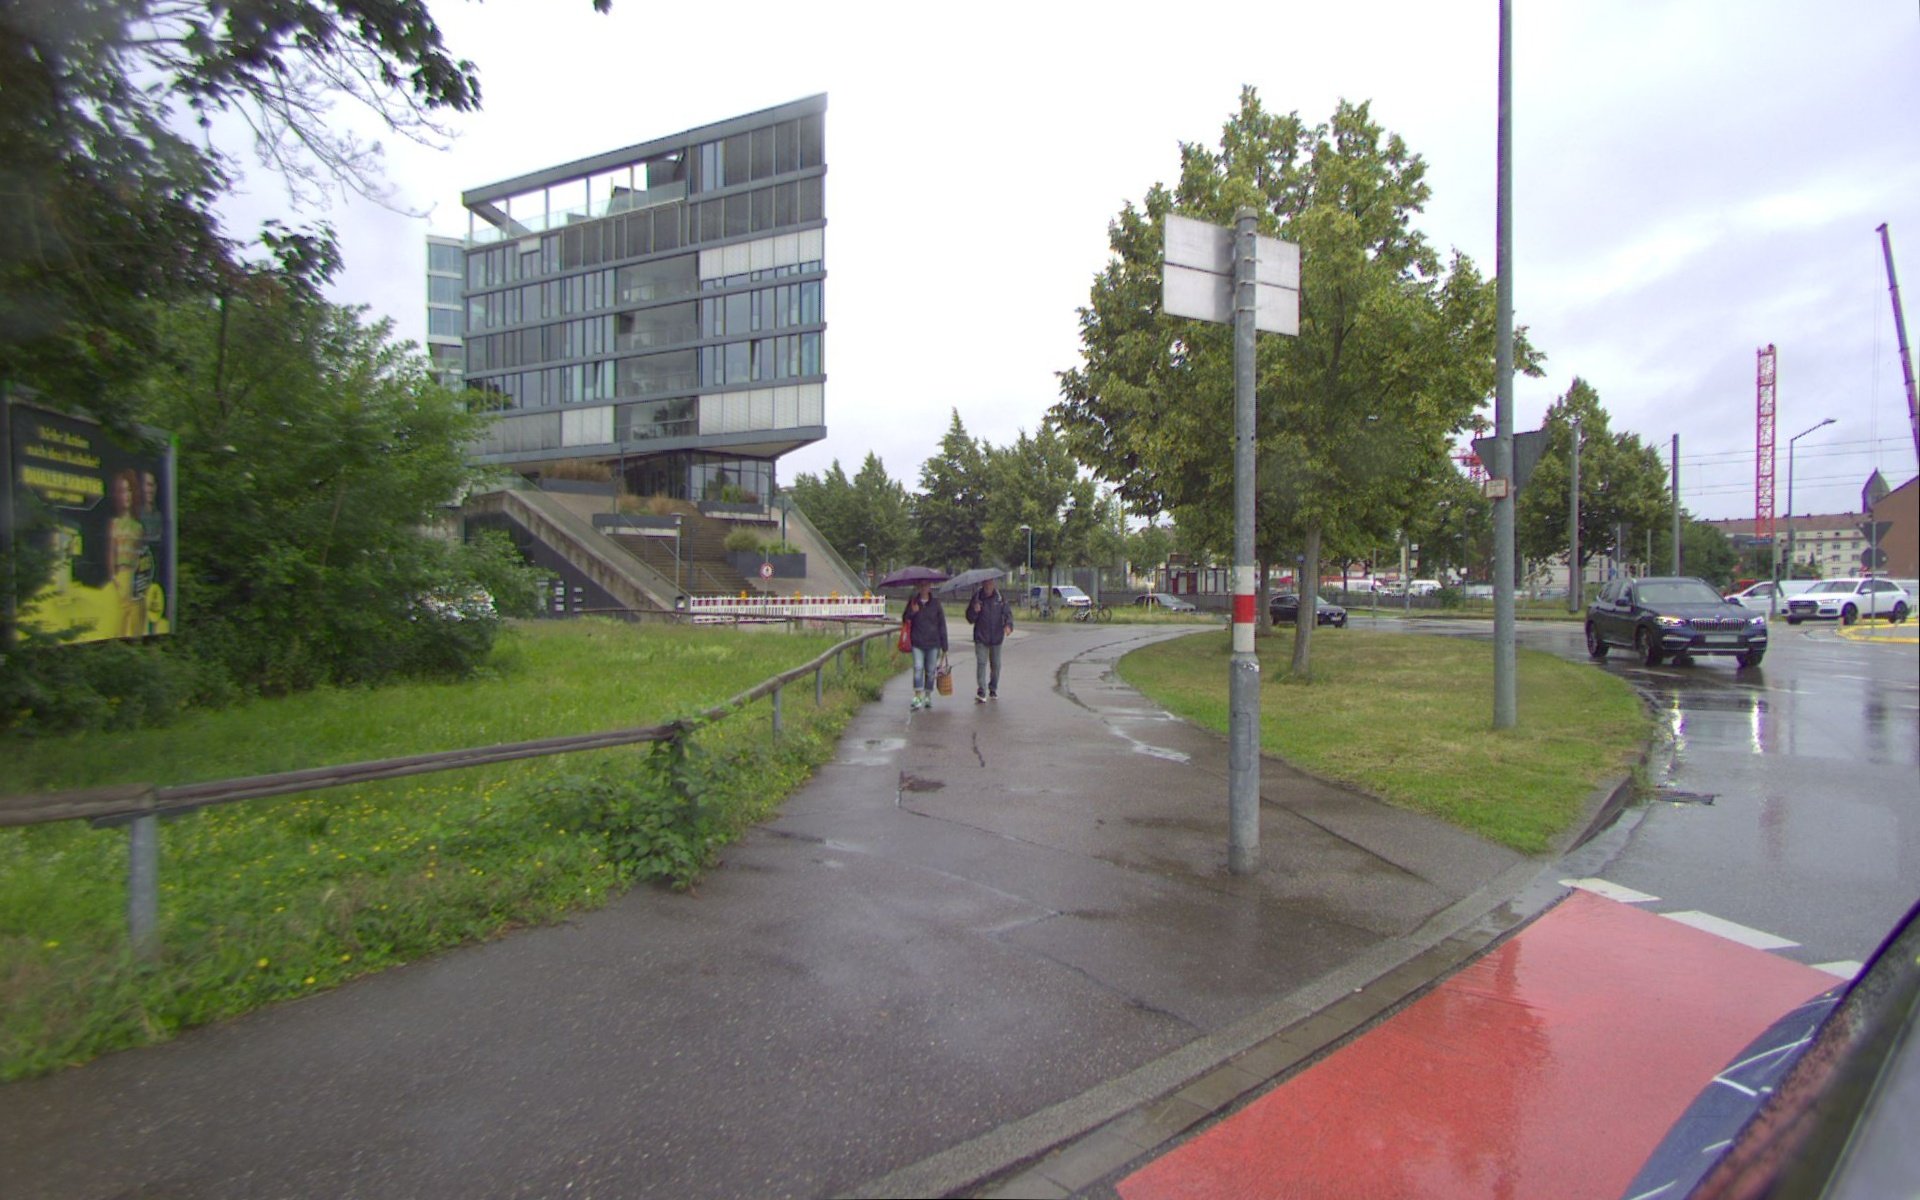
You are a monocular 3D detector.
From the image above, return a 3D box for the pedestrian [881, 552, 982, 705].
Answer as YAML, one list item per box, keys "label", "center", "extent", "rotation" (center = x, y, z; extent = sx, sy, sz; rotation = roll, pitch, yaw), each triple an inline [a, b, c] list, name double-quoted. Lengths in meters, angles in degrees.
- label: "pedestrian"
  center: [-0.346, 0.333, 12.563]
  extent: [0.916, 1.806, 0.799]
  rotation: [-1, 2, 31]

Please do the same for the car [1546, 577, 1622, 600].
- label: "car"
  center: [69.241, -1.320, 112.377]
  extent: [2.314, 2.507, 6.832]
  rotation: [-1, 1, -38]

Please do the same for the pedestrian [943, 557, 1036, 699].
- label: "pedestrian"
  center: [0.402, 0.352, 13.462]
  extent: [0.916, 1.806, 0.799]
  rotation: [-1, 2, 31]

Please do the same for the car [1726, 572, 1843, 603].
- label: "car"
  center: [59.387, -0.932, 73.111]
  extent: [2.308, 2.038, 6.442]
  rotation: [-3, 2, -14]

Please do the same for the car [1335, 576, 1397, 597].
- label: "car"
  center: [51.987, -1.760, 129.914]
  extent: [2.310, 2.507, 7.649]
  rotation: [-3, 2, -28]

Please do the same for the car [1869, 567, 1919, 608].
- label: "car"
  center: [72.642, -0.982, 75.887]
  extent: [2.308, 2.975, 6.442]
  rotation: [-2, 2, -14]

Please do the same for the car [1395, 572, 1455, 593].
- label: "car"
  center: [59.432, -2.228, 129.433]
  extent: [2.451, 2.507, 6.846]
  rotation: [-3, 2, -28]

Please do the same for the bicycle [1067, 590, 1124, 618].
- label: "bicycle"
  center: [6.129, 0.188, 45.718]
  extent: [2.491, 1.204, 0.550]
  rotation: [-1, 0, 18]

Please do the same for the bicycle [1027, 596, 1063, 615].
- label: "bicycle"
  center: [4.009, 0.252, 47.756]
  extent: [0.623, 0.857, 2.167]
  rotation: [-1, 1, -27]

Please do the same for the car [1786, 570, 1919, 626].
- label: "car"
  center: [32.817, -0.118, 37.120]
  extent: [4.765, 1.765, 1.781]
  rotation: [-3, 2, -21]

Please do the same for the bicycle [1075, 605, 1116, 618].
- label: "bicycle"
  center: [6.081, 0.498, 45.501]
  extent: [1.778, 0.566, 0.319]
  rotation: [-1, 0, 18]

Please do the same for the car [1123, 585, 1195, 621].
- label: "car"
  center: [10.649, 0.114, 54.607]
  extent: [1.878, 1.768, 4.393]
  rotation: [-3, 2, -18]

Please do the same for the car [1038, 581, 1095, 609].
- label: "car"
  center: [6.737, -0.359, 64.395]
  extent: [1.752, 1.668, 4.007]
  rotation: [-3, 2, -24]

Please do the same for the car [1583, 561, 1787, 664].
- label: "car"
  center: [14.119, 0.157, 20.030]
  extent: [1.891, 1.768, 4.362]
  rotation: [-2, 2, 16]

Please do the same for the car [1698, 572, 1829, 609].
- label: "car"
  center: [40.146, -0.463, 50.653]
  extent: [5.008, 1.663, 1.803]
  rotation: [0, 2, 44]

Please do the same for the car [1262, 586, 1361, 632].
- label: "car"
  center: [15.143, 0.324, 43.842]
  extent: [1.878, 1.768, 4.393]
  rotation: [-3, 2, -14]
